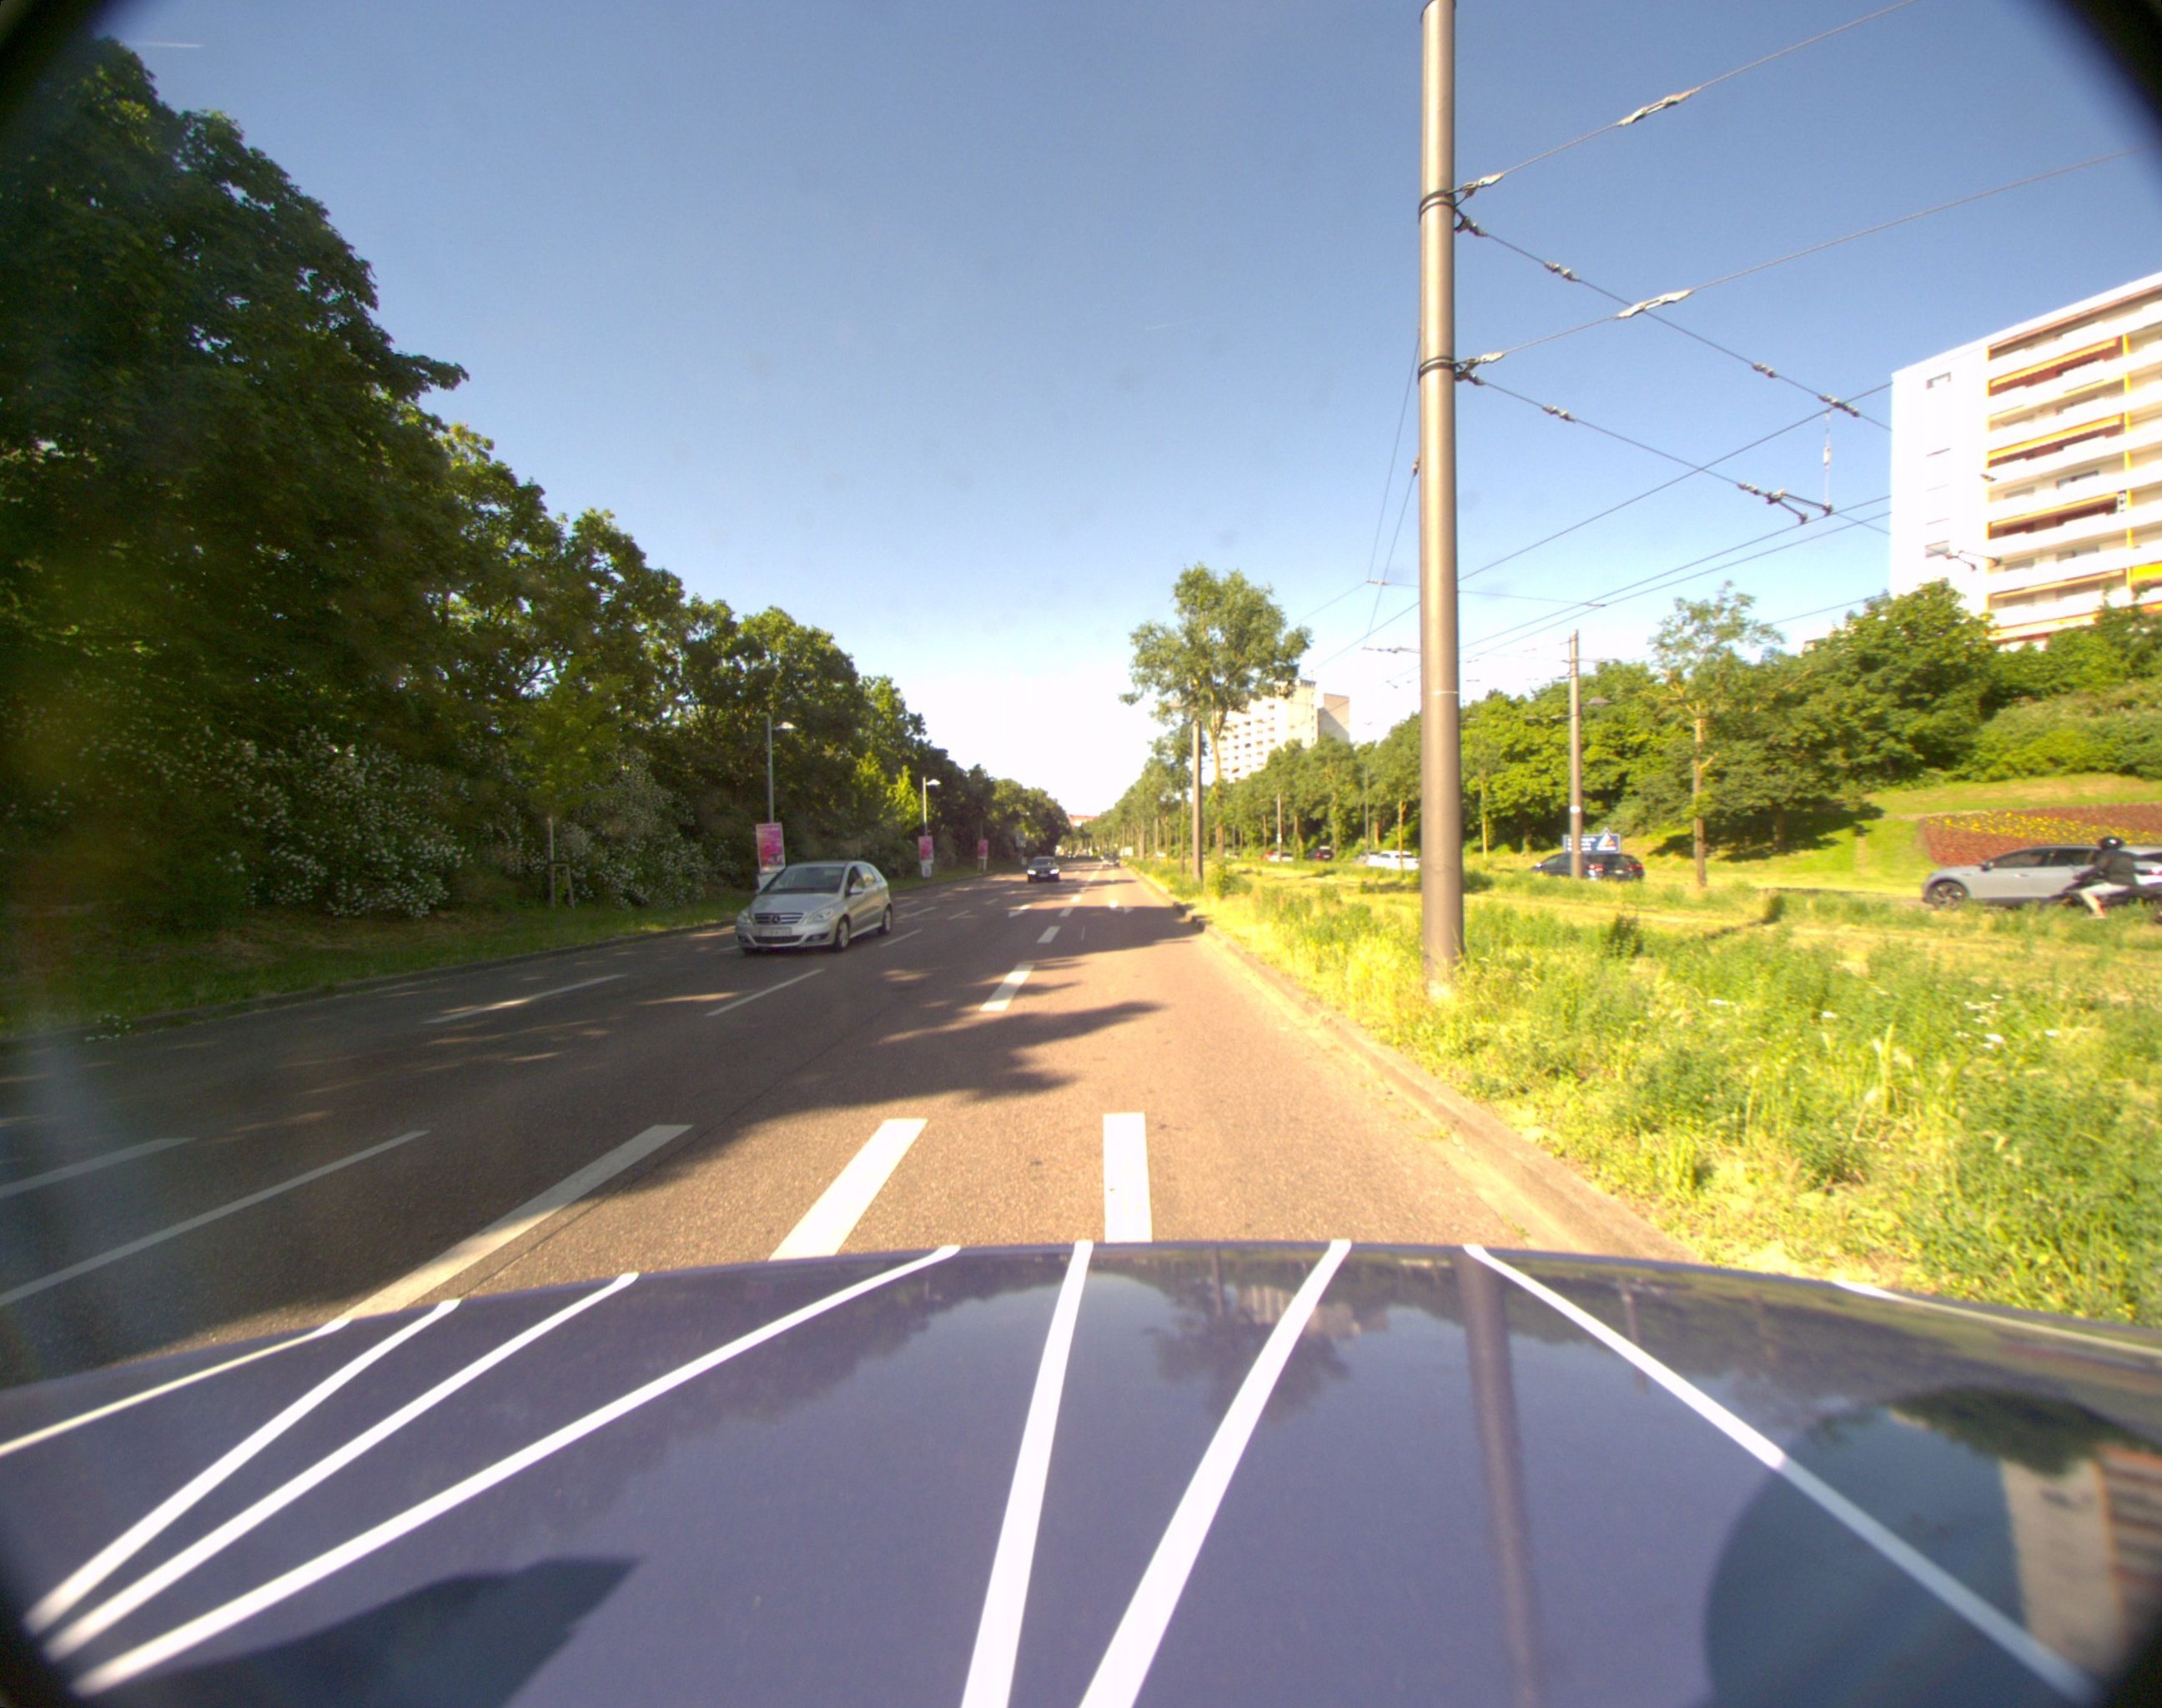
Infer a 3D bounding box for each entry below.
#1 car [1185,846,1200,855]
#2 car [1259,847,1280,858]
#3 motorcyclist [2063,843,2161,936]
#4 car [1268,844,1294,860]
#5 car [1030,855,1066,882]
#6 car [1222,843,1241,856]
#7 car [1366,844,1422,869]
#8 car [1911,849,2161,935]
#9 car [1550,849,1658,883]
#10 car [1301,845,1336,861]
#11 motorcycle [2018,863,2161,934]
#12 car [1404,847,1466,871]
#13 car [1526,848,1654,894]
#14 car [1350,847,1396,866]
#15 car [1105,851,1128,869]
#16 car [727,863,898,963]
[{"bbox_3d":[18.534,-0.582,126.683,1.998,1.401,4.991,-2,1,4],"label":"car"},{"bbox_3d":[22.758,-0.179,91.975,1.661,1.290,4.177,-2,1,3],"label":"car"},{"bbox_3d":[18.361,0.616,13.543,0.836,1.590,0.640,-2,1,9],"label":"motorcyclist"},{"bbox_3d":[19.538,-0.174,74.289,1.592,1.464,4.183,-1,0,3],"label":"car"},{"bbox_3d":[-1.923,0.802,44.859,1.831,1.401,4.216,-2,1,1],"label":"car"},{"bbox_3d":[19.337,-0.613,97.879,1.767,1.599,3.758,0,1,2],"label":"car"},{"bbox_3d":[19.245,0.128,46.949,1.707,1.414,4.643,-1,0,2],"label":"car"},{"bbox_3d":[21.379,0.703,16.576,1.842,1.592,4.438,-1,1,4],"label":"car"},{"bbox_3d":[21.992,0.458,32.149,1.866,1.334,4.031,0,1,1],"label":"car"},{"bbox_3d":[22.694,-0.105,72.809,1.998,1.472,4.631,-2,1,2],"label":"car"},{"bbox_3d":[18.409,0.763,13.822,0.422,1.125,2.096,-2,1,9],"label":"motorcycle"},{"bbox_3d":[22.437,0.264,48.338,1.998,1.366,4.400,-2,1,3],"label":"car"},{"bbox_3d":[18.664,0.569,28.150,1.998,1.585,4.465,0,1,4],"label":"car"},{"bbox_3d":[23.239,0.185,60.592,1.998,1.424,4.693,0,1,2],"label":"car"},{"bbox_3d":[3.475,0.578,75.041,1.998,1.696,3.999,-2,1,1],"label":"car"},{"bbox_3d":[-4.895,0.992,14.503,1.672,1.531,4.060,-2,0,2],"label":"car"}]
